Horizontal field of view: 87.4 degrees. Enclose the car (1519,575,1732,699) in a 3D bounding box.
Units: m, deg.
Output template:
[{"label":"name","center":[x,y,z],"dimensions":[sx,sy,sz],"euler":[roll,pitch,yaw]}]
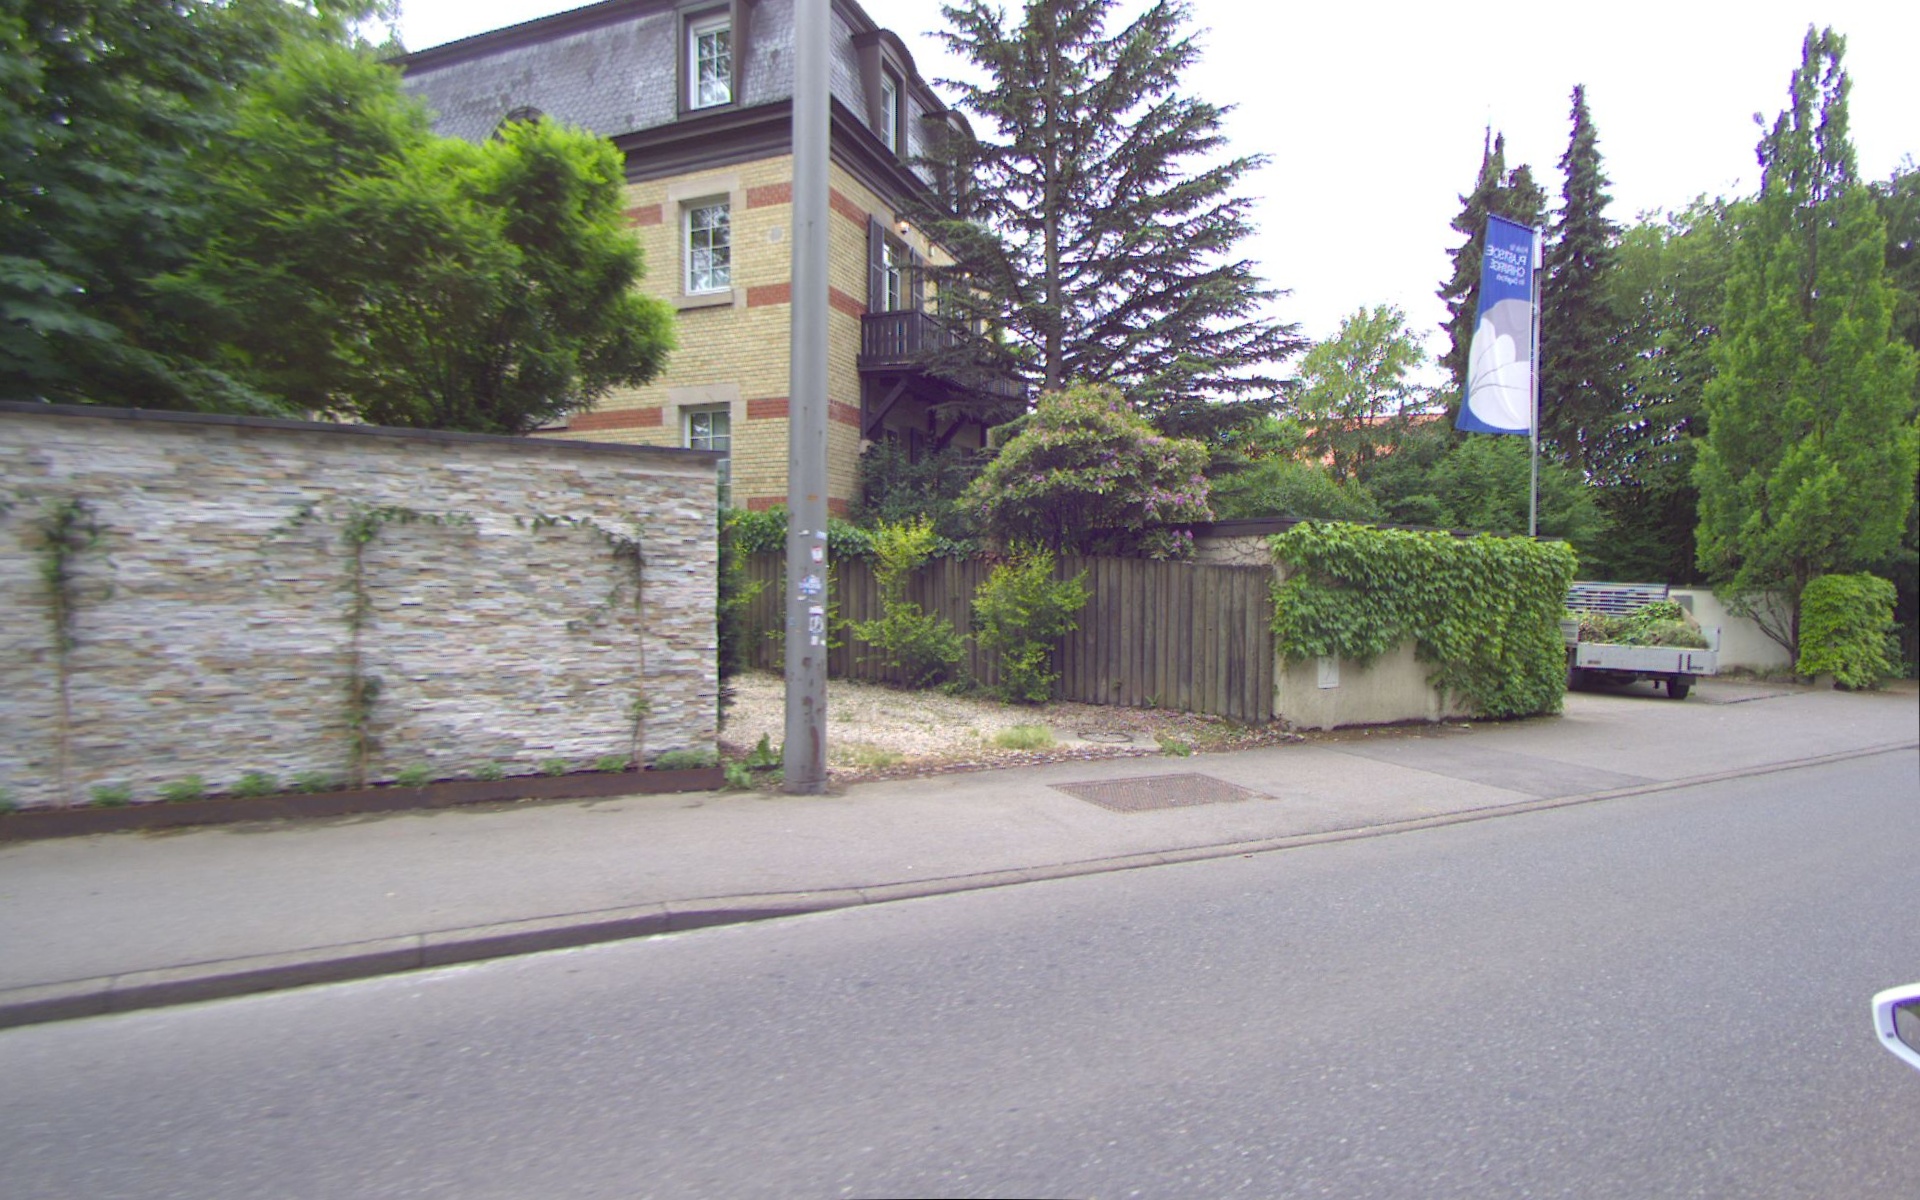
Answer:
[{"label":"car","center":[13.080,0.657,20.212],"dimensions":[2.378,2.100,5.361],"euler":[1,0,21]}]
